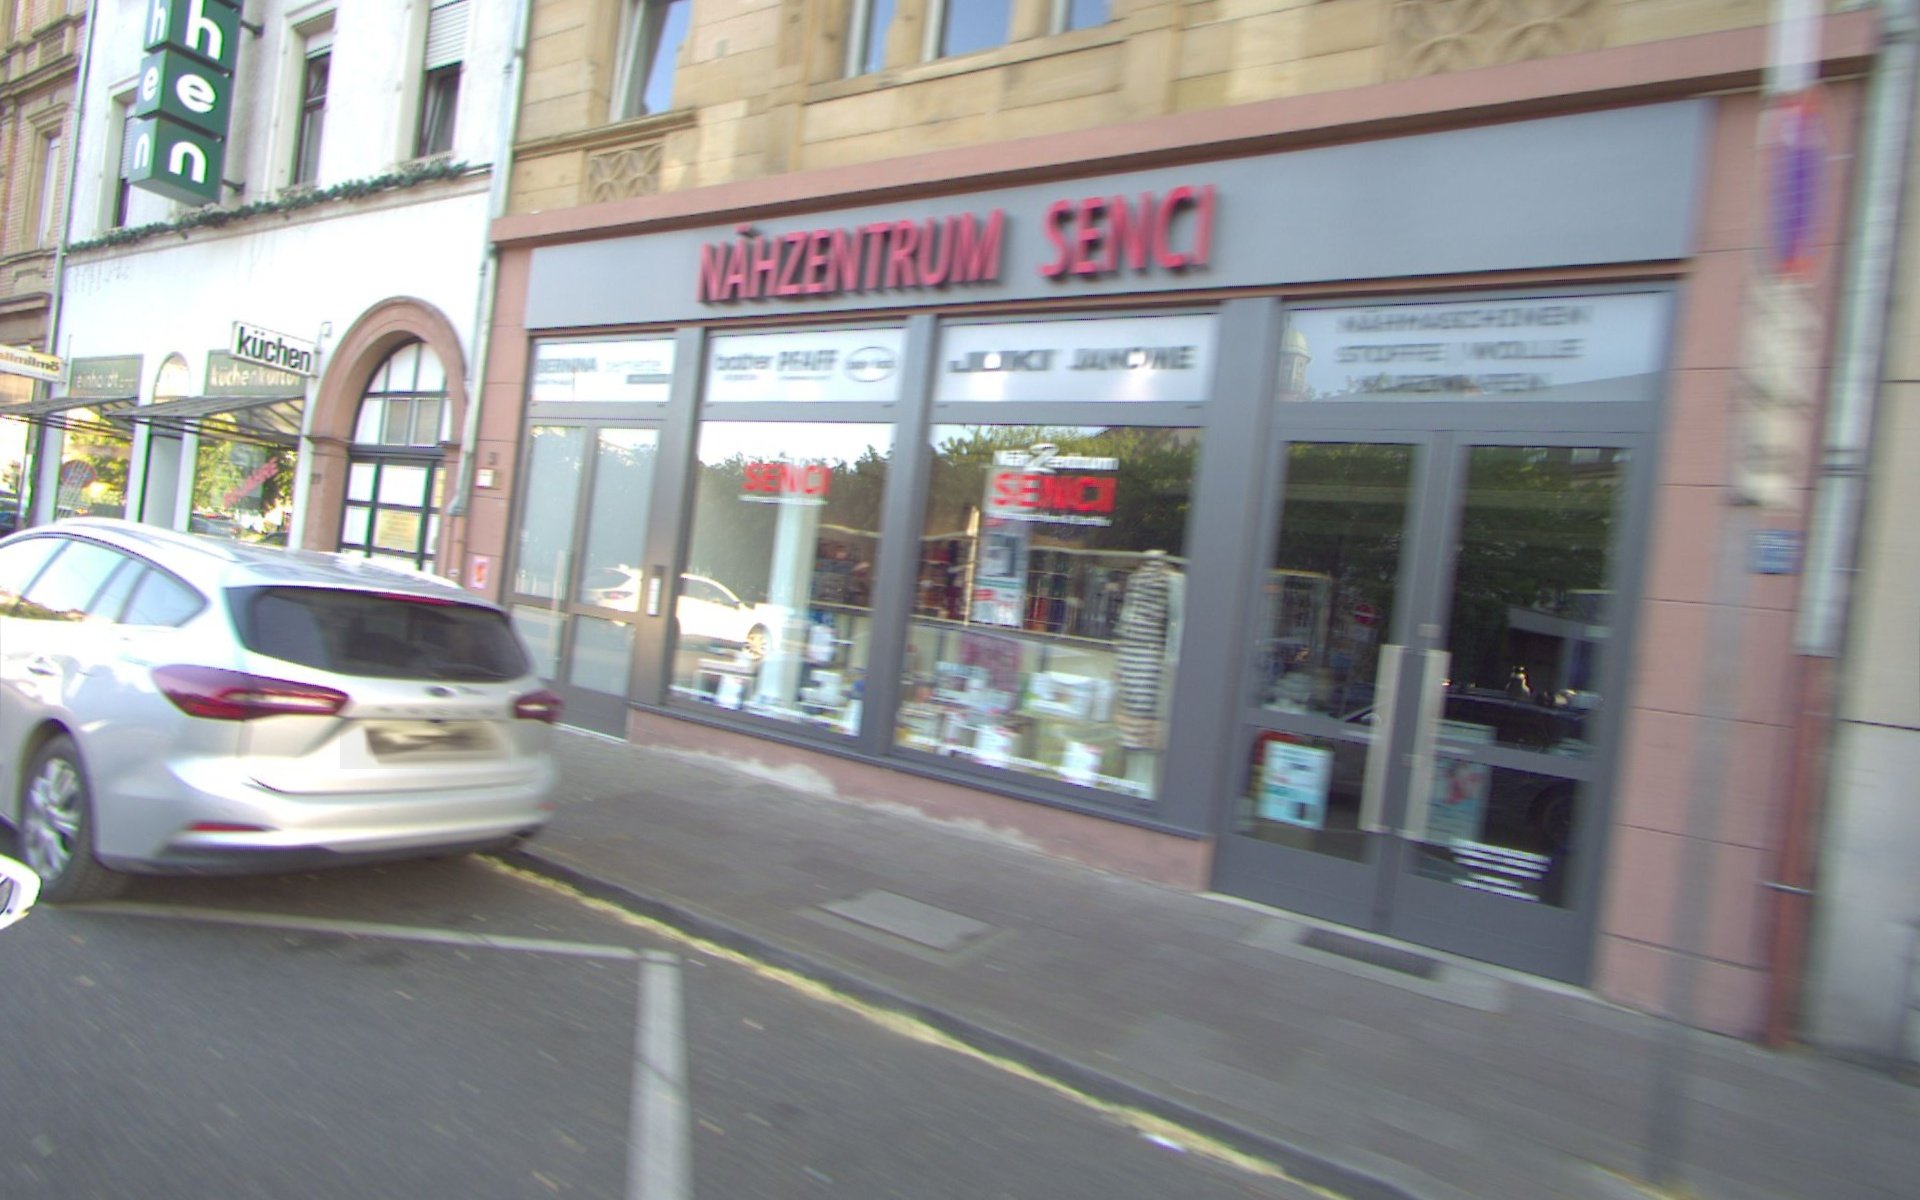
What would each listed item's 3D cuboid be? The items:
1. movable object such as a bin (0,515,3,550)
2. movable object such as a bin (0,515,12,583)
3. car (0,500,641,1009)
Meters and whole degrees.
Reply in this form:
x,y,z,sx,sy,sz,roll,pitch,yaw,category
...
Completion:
x,y,z,sx,sy,sz,roll,pitch,yaw,category
-16.470,-0.923,16.611,0.607,1.084,0.775,7,2,31,movable object such as a bin
-15.944,-0.871,16.211,0.607,1.084,0.775,7,2,31,movable object such as a bin
-4.089,0.414,5.169,4.739,1.553,1.764,6,-3,29,car
